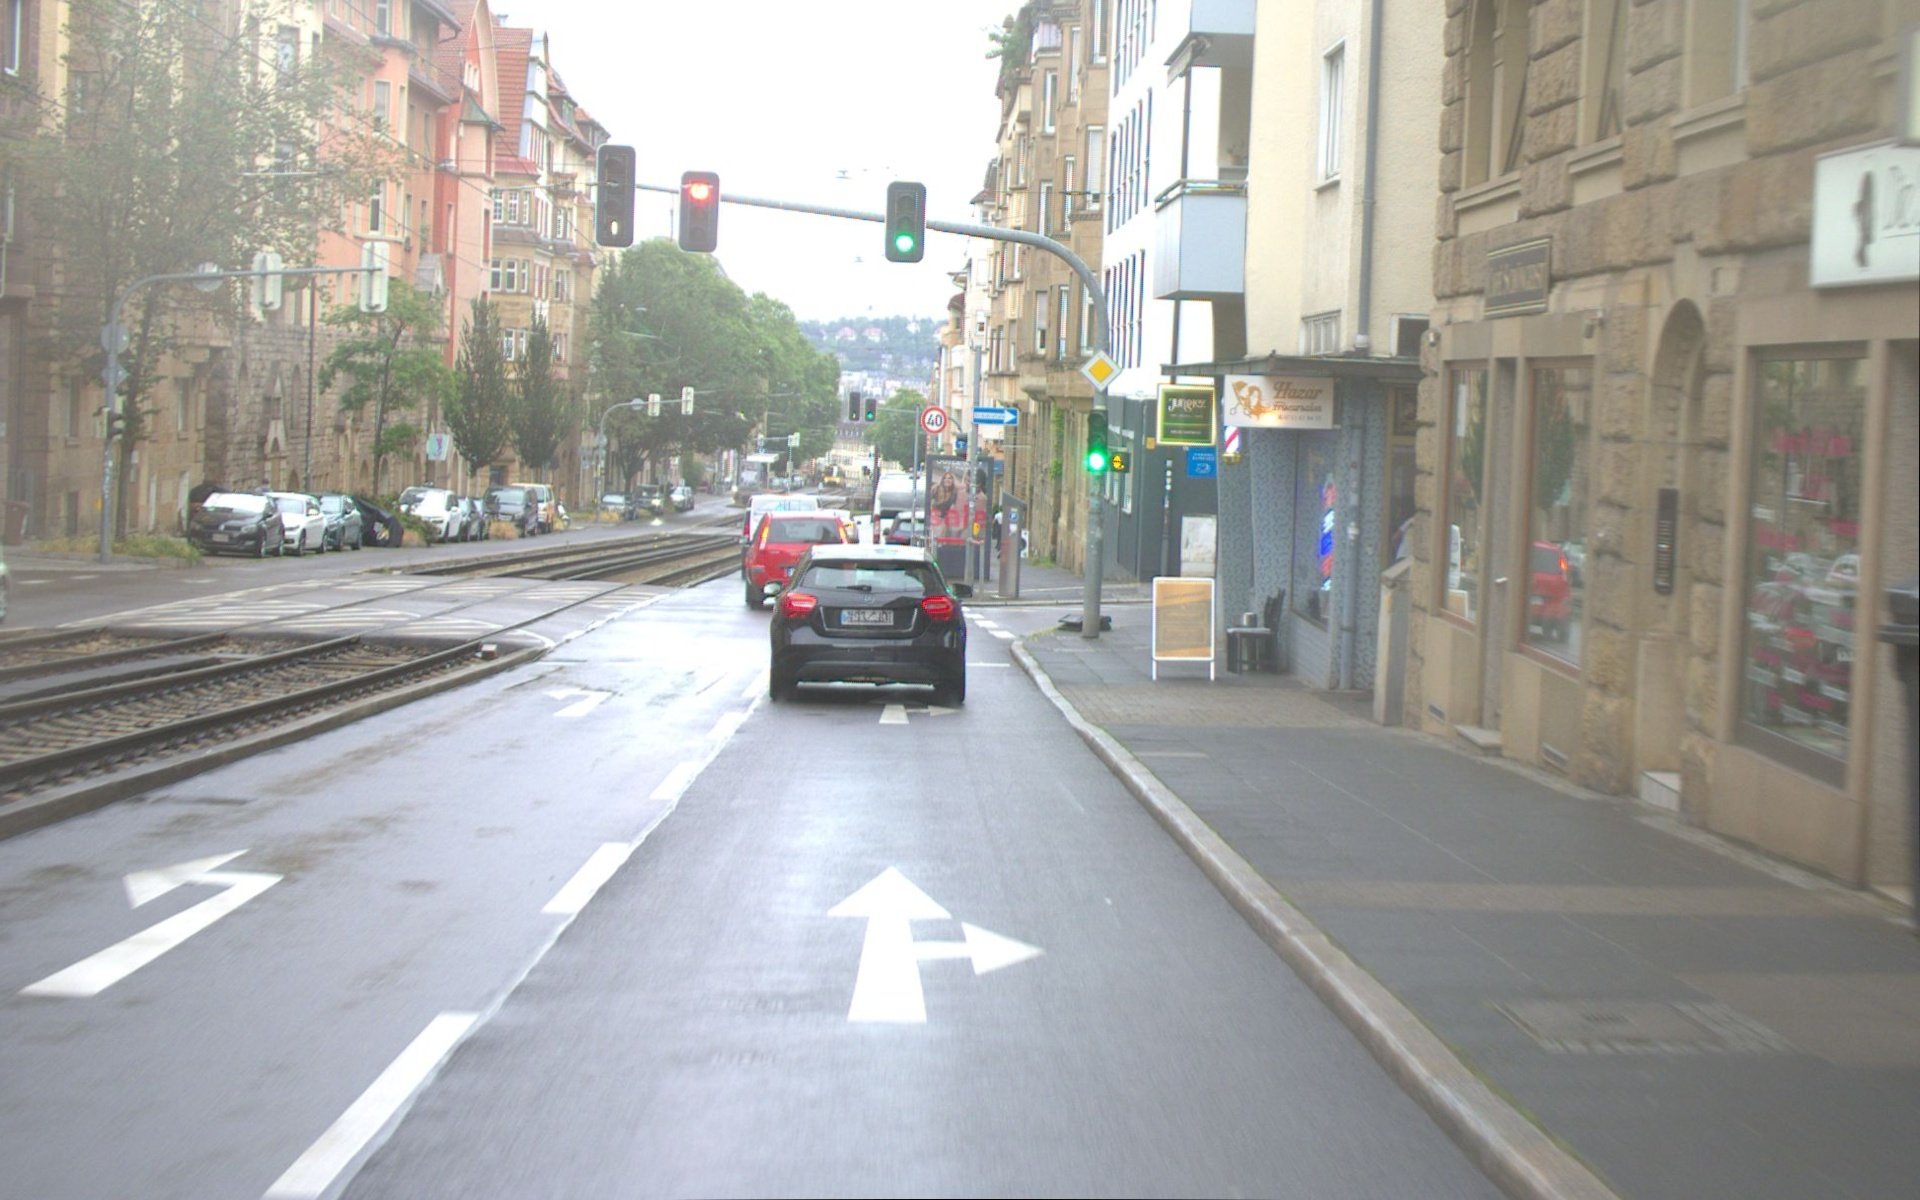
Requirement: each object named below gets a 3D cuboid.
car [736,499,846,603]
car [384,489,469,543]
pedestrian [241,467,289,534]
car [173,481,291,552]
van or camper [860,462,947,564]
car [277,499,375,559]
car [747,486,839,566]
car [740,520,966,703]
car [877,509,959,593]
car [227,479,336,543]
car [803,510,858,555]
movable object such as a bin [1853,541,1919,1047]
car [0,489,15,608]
[{"bbox_3d":[-2.666,-0.815,54.847,1.536,1.505,4.001,3,2,-1],"label":"car"},{"bbox_3d":[-16.574,-2.601,107.027,1.785,1.584,4.351,2,1,2],"label":"car"},{"bbox_3d":[-18.836,-2.698,93.238,1.007,1.747,0.924,4,1,0],"label":"pedestrian"},{"bbox_3d":[-16.289,-1.866,77.112,1.765,1.481,4.000,2,1,0],"label":"car"},{"bbox_3d":[-1.439,-2.234,88.475,2.064,2.460,6.119,2,1,-1],"label":"van or camper"},{"bbox_3d":[-16.137,-1.812,87.652,1.561,1.433,4.146,2,1,2],"label":"car"},{"bbox_3d":[-3.717,-1.637,76.235,1.921,1.649,4.001,3,1,-3],"label":"car"},{"bbox_3d":[-1.005,0.066,32.138,1.946,1.559,3.643,2,1,-2],"label":"car"},{"bbox_3d":[-0.983,-1.175,80.148,1.768,1.801,4.483,3,2,-1],"label":"car"},{"bbox_3d":[-16.205,-2.126,82.297,1.667,1.421,4.263,2,2,1],"label":"car"},{"bbox_3d":[-4.769,-2.500,127.131,1.902,1.588,4.000,2,1,-1],"label":"car"},{"bbox_3d":[3.254,0.557,9.855,1.009,1.446,1.393,0,1,-1],"label":"movable object such as a bin"},{"bbox_3d":[-12.667,-0.635,41.295,1.627,1.477,3.581,2,1,0],"label":"car"}]
